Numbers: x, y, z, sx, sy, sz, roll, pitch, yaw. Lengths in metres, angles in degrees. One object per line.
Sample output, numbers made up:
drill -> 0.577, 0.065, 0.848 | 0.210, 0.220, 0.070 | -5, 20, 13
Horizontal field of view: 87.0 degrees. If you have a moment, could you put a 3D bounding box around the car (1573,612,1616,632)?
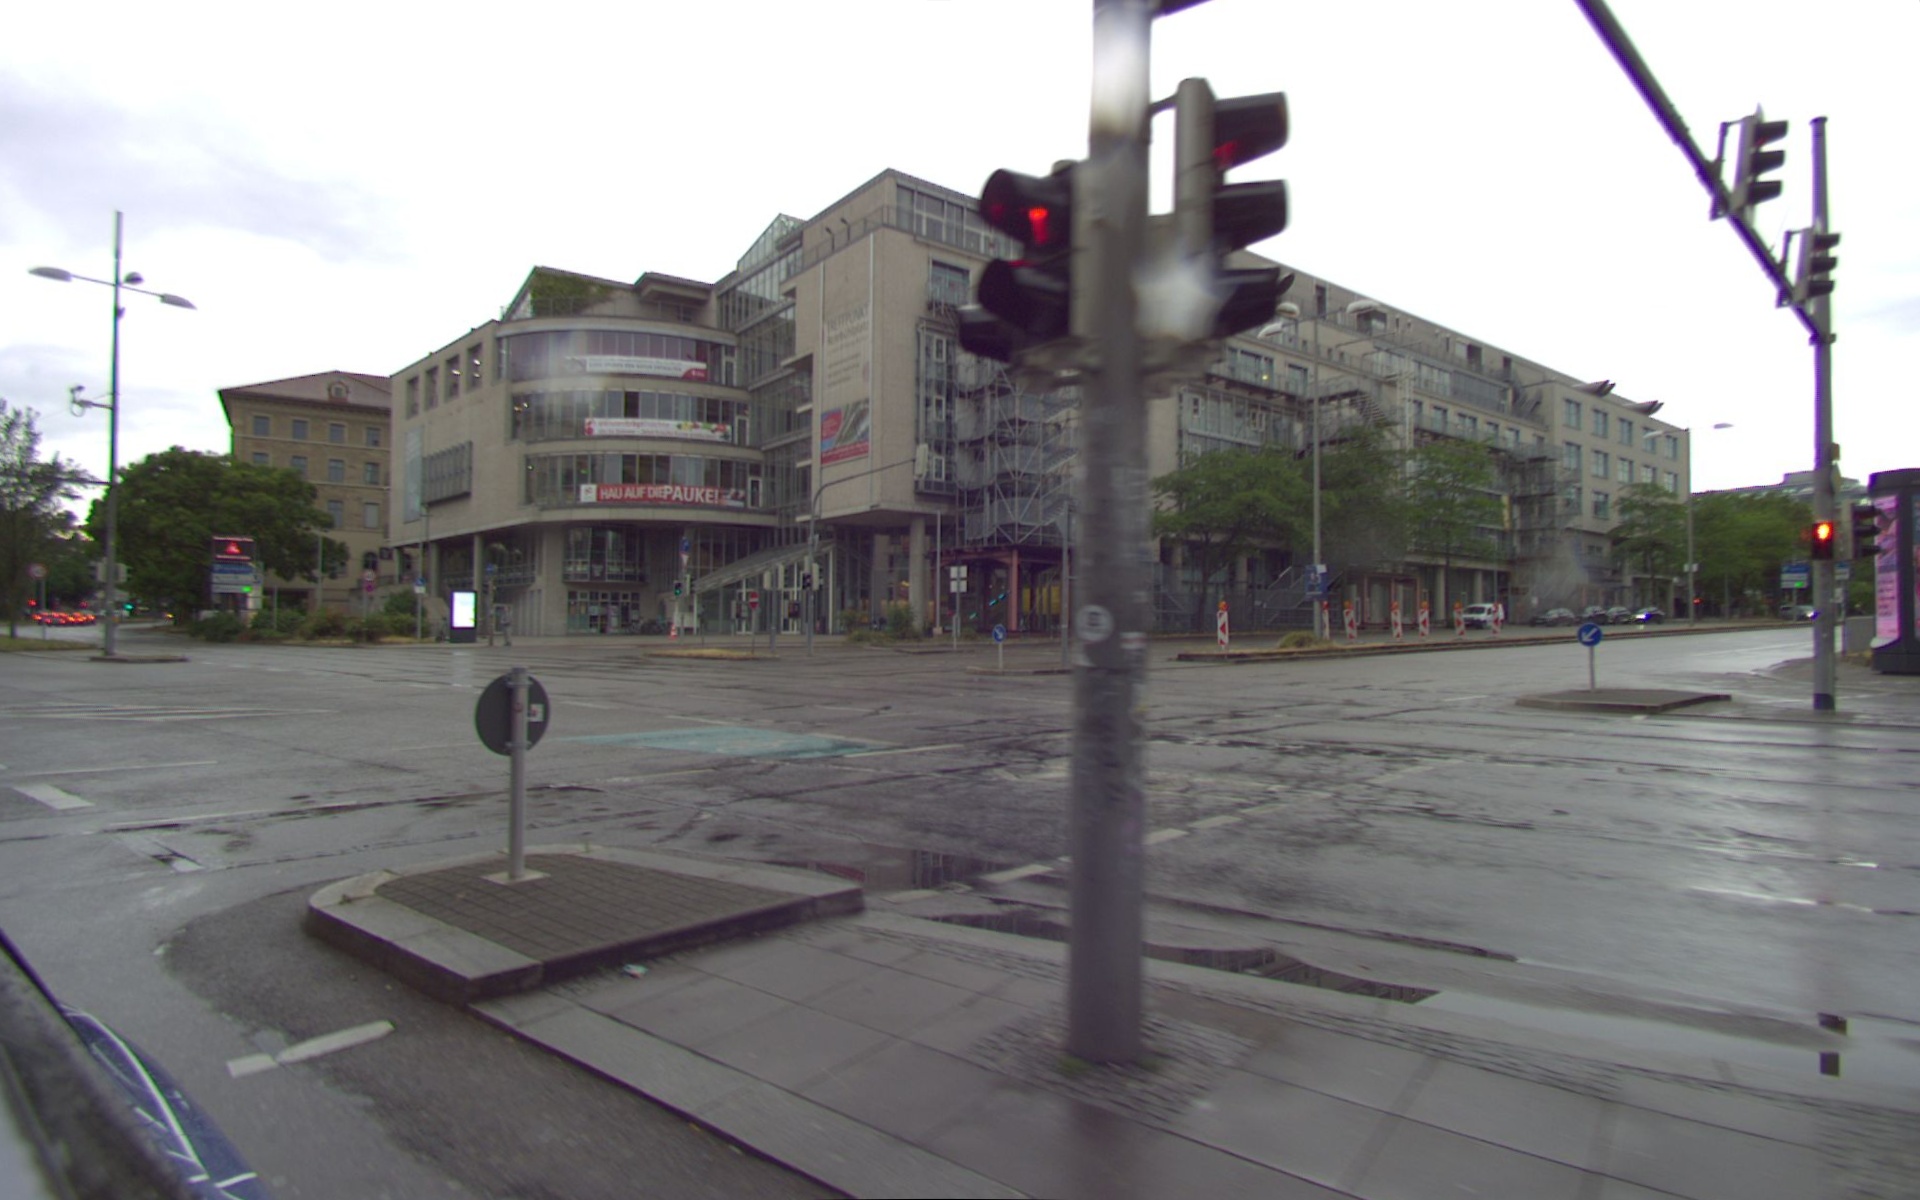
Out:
car -> 51.300, 1.779, 81.784 | 4.268, 1.522, 1.761 | 0, -1, -40

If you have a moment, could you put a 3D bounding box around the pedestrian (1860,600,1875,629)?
pedestrian -> 63.014, 0.995, 70.265 | 0.682, 2.029, 0.617 | 1, -2, -36

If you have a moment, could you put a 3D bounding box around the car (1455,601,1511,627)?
car -> 36.908, 0.969, 71.338 | 4.268, 1.807, 2.003 | 0, -1, -40
